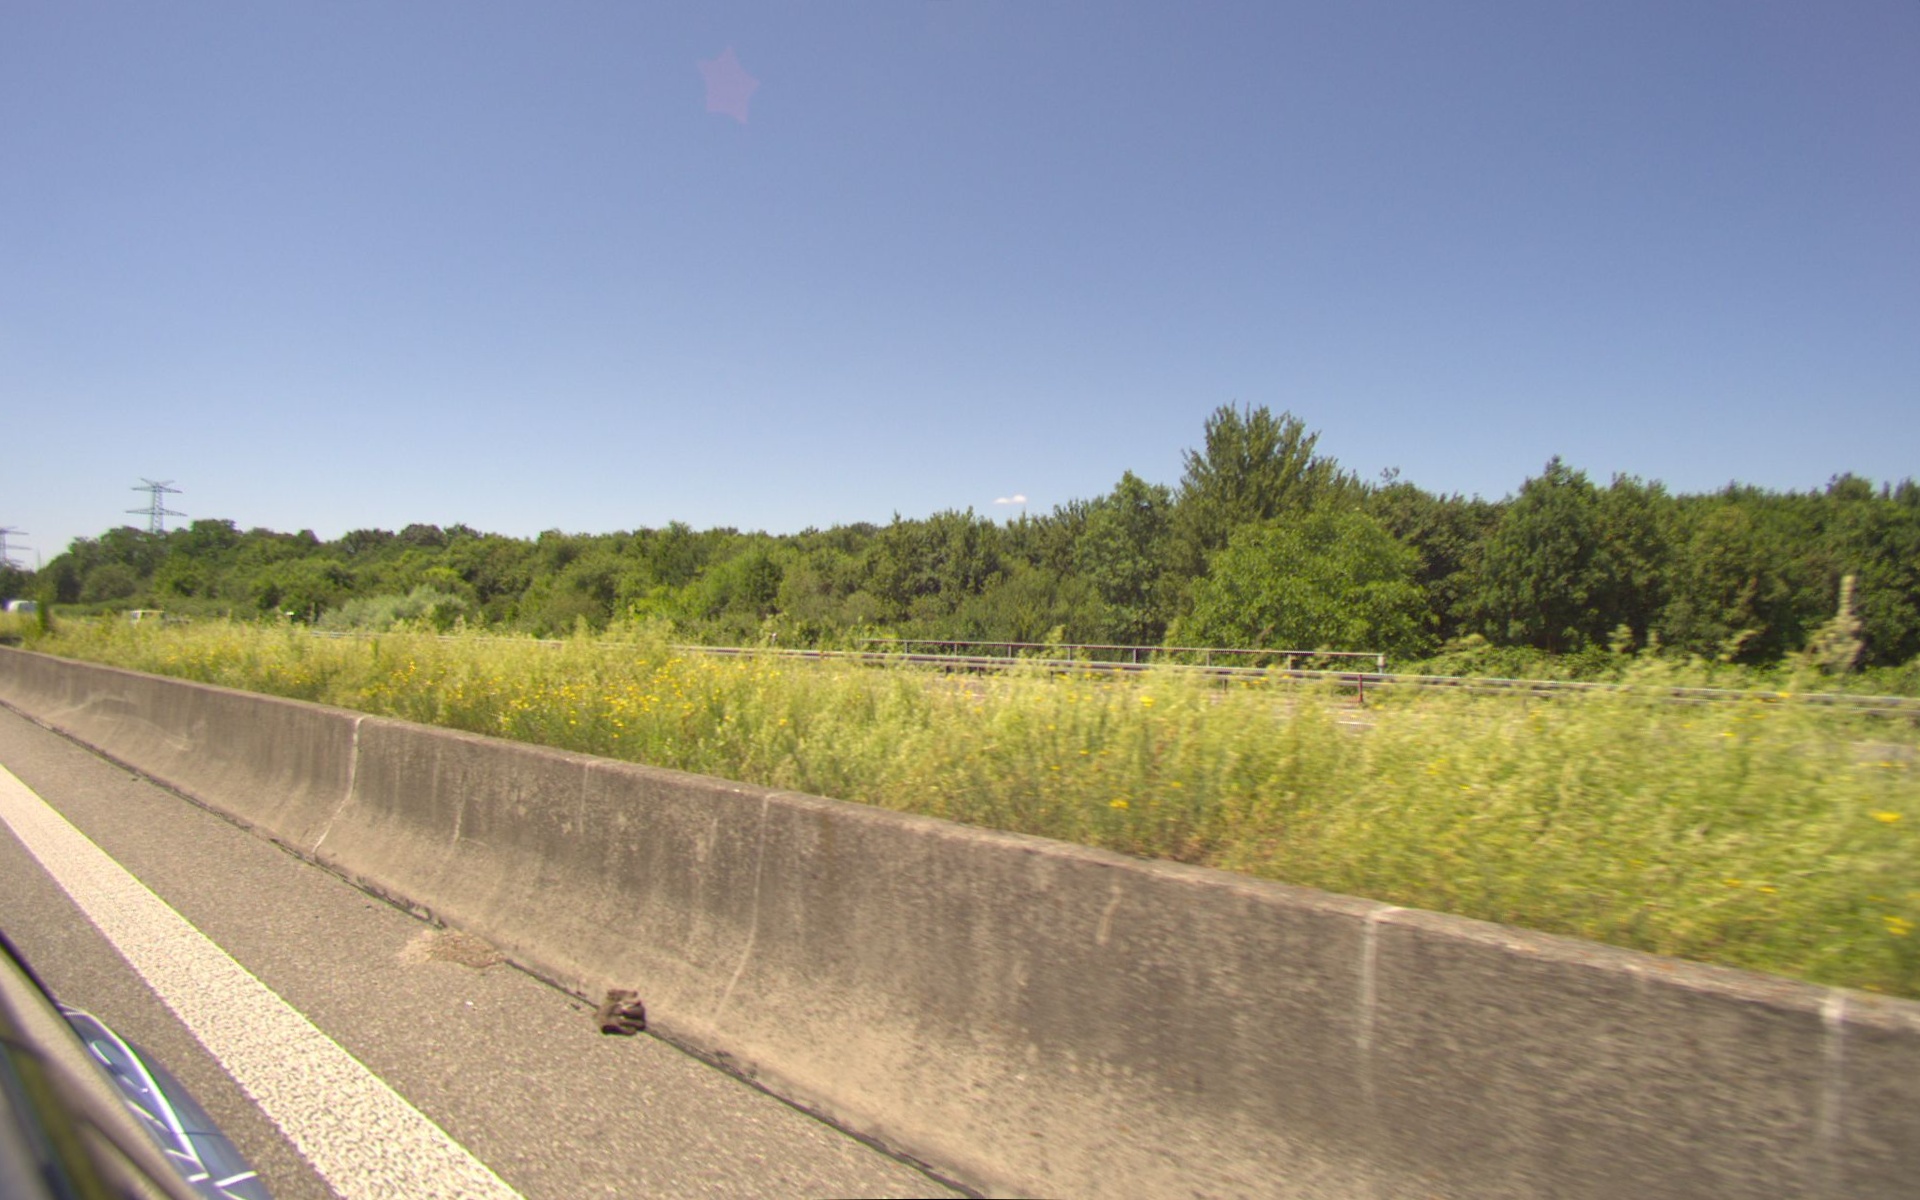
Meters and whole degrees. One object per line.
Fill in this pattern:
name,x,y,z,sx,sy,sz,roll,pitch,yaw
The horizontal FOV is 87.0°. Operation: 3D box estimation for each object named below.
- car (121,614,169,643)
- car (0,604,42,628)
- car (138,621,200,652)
car,-59.878,2.070,74.336,5.072,2.029,1.862,-1,-1,41
car,-83.436,1.420,89.892,6.552,2.029,1.973,-1,0,41
car,-40.857,1.882,52.241,4.257,1.475,1.651,-2,-5,41
